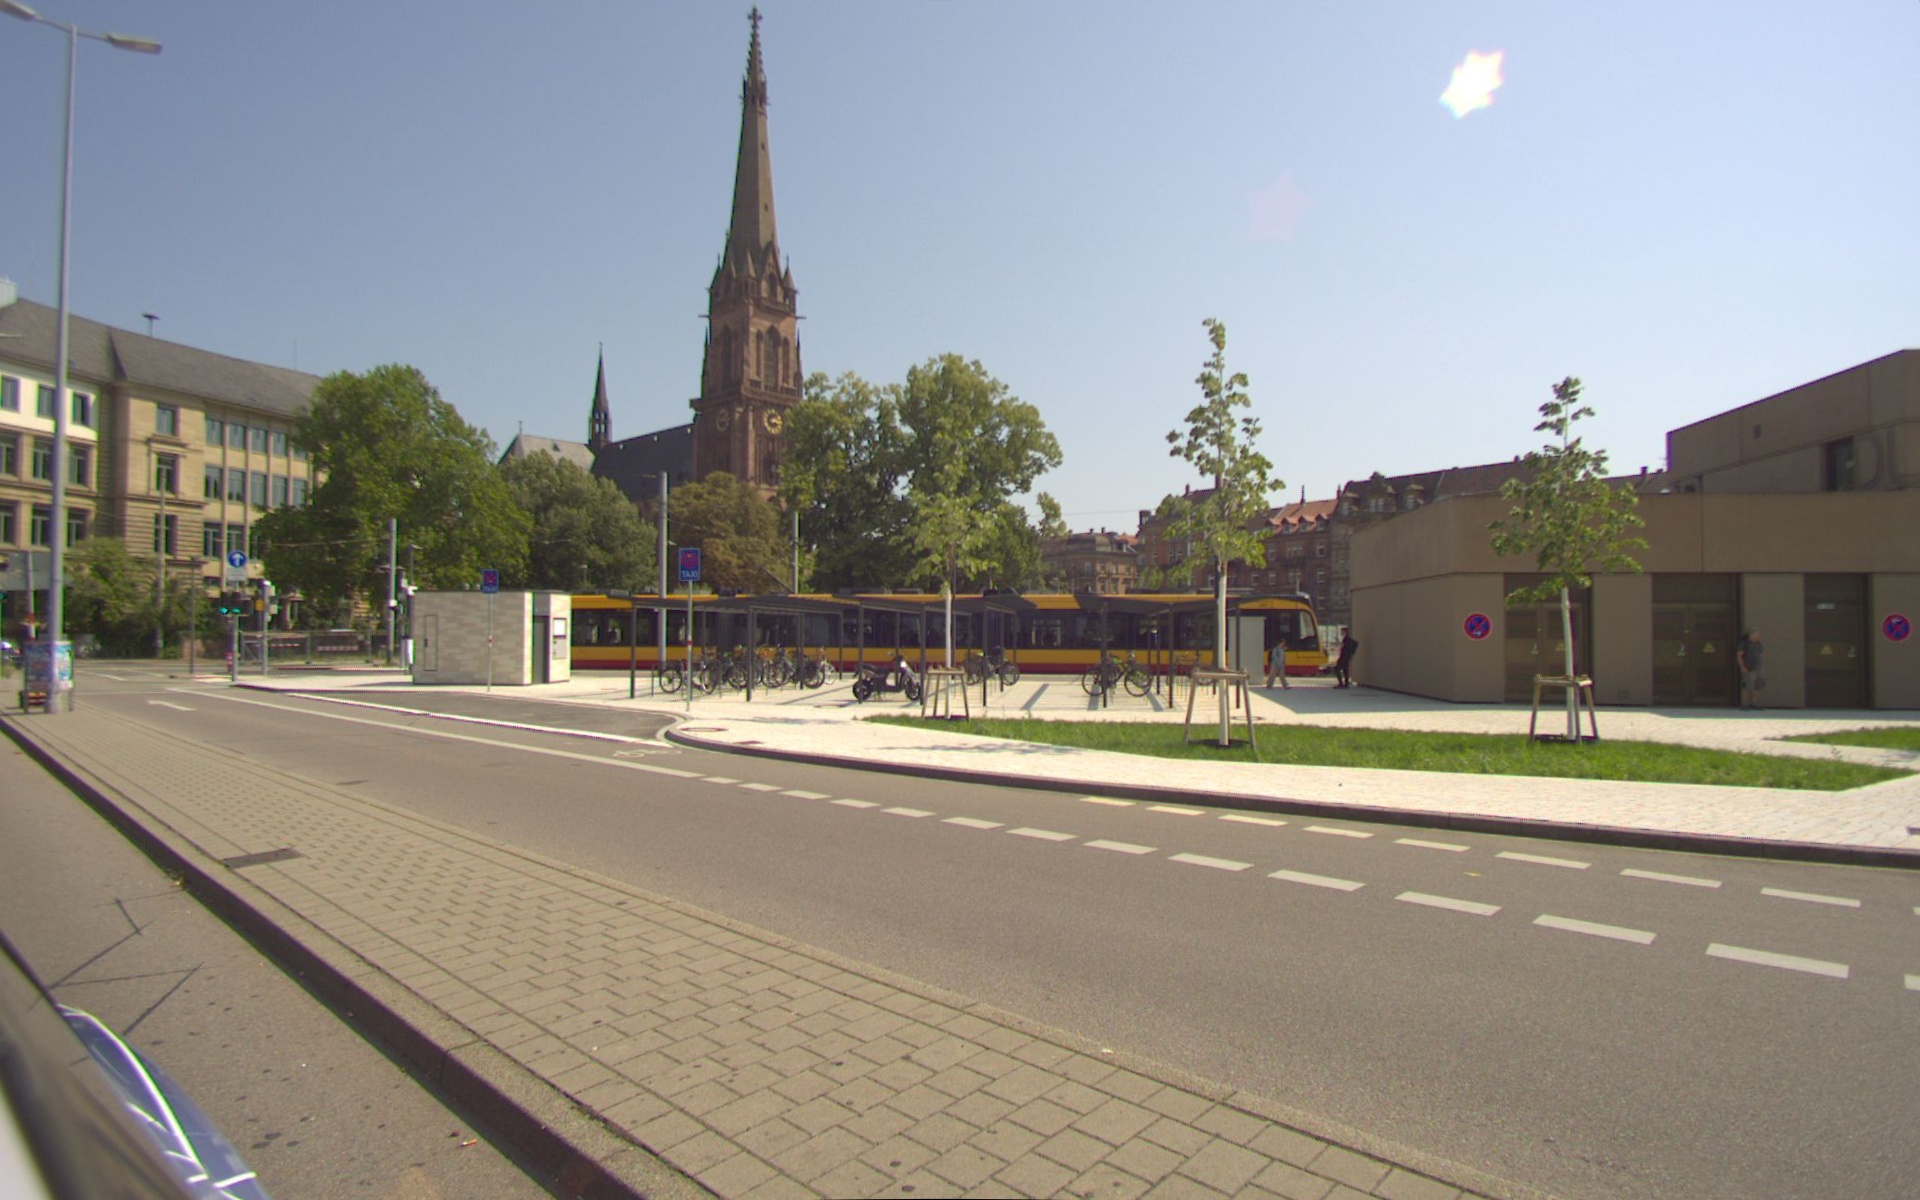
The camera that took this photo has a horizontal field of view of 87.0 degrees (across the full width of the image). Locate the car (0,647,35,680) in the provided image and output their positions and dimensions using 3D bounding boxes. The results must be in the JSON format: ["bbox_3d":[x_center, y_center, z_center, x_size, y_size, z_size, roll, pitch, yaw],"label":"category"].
[{"bbox_3d":[-45.010,2.970,47.843,3.586,1.509,1.563,-3,-5,43],"label":"car"}]

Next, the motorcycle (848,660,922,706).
[{"bbox_3d":[-1.831,2.018,24.729,1.760,1.077,0.490,-1,-3,11],"label":"motorcycle"}]

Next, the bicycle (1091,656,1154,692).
[{"bbox_3d":[4.741,2.158,29.580,1.708,1.048,0.514,0,-3,-4],"label":"bicycle"}]

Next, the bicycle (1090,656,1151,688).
[{"bbox_3d":[4.961,2.221,31.289,1.834,0.993,0.512,0,-3,7],"label":"bicycle"}]

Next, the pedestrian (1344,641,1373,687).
[{"bbox_3d":[12.374,1.981,31.427,0.737,1.421,0.442,-1,-2,12],"label":"pedestrian"}]

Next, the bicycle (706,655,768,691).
[{"bbox_3d":[-6.675,2.171,30.325,1.751,1.048,0.525,-1,-3,11],"label":"bicycle"}]

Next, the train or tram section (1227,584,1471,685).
[{"bbox_3d":[14.761,1.391,39.100,8.147,3.597,3.137,-1,-4,8],"label":"train or tram section"}]

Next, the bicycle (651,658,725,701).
[{"bbox_3d":[-7.137,2.082,26.583,1.845,1.090,0.525,-1,-3,11],"label":"bicycle"}]

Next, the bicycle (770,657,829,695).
[{"bbox_3d":[-4.558,2.162,28.788,1.623,1.048,0.411,-1,-3,11],"label":"bicycle"}]

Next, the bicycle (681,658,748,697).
[{"bbox_3d":[-6.788,2.141,27.973,1.751,1.048,0.525,-1,-3,11],"label":"bicycle"}]

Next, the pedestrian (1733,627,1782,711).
[{"bbox_3d":[16.273,1.396,20.662,0.529,1.691,0.567,0,-2,7],"label":"pedestrian"}]

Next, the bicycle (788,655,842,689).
[{"bbox_3d":[-4.497,2.226,31.384,1.623,1.048,0.411,-1,-3,11],"label":"bicycle"}]

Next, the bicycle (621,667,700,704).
[{"bbox_3d":[-7.492,2.138,25.342,1.878,0.890,0.490,-1,-3,11],"label":"bicycle"}]

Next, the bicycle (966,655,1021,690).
[{"bbox_3d":[1.005,2.174,30.403,1.623,1.048,0.411,-1,-3,11],"label":"bicycle"}]

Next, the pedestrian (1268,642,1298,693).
[{"bbox_3d":[9.111,1.888,28.578,0.668,1.421,0.438,-2,-3,42],"label":"pedestrian"}]

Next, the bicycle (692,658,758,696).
[{"bbox_3d":[-6.641,2.163,28.650,1.751,1.048,0.525,-1,-3,11],"label":"bicycle"}]

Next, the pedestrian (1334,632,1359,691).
[{"bbox_3d":[11.178,1.779,29.262,0.562,1.691,0.443,0,-2,8],"label":"pedestrian"}]

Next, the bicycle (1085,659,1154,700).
[{"bbox_3d":[4.126,2.068,26.287,1.711,1.048,0.513,0,-3,1],"label":"bicycle"}]

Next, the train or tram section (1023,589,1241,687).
[{"bbox_3d":[6.716,1.564,40.262,8.150,3.625,3.153,-1,-3,8],"label":"train or tram section"}]

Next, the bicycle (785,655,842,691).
[{"bbox_3d":[-4.335,2.158,29.857,1.623,1.048,0.411,-1,-3,11],"label":"bicycle"}]

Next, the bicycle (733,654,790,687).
[{"bbox_3d":[-6.433,2.282,32.805,1.751,1.048,0.525,-1,-3,11],"label":"bicycle"}]

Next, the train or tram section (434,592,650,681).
[{"bbox_3d":[-18.040,1.631,43.923,8.231,3.588,3.130,-1,-4,8],"label":"train or tram section"}]

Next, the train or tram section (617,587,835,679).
[{"bbox_3d":[-9.788,1.463,42.717,8.427,3.625,3.153,-1,-3,8],"label":"train or tram section"}]

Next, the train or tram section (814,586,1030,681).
[{"bbox_3d":[-1.462,1.440,41.478,8.427,3.625,3.153,-1,-3,8],"label":"train or tram section"}]

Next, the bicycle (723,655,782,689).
[{"bbox_3d":[-6.482,2.242,31.638,1.751,1.048,0.525,-1,-3,11],"label":"bicycle"}]
